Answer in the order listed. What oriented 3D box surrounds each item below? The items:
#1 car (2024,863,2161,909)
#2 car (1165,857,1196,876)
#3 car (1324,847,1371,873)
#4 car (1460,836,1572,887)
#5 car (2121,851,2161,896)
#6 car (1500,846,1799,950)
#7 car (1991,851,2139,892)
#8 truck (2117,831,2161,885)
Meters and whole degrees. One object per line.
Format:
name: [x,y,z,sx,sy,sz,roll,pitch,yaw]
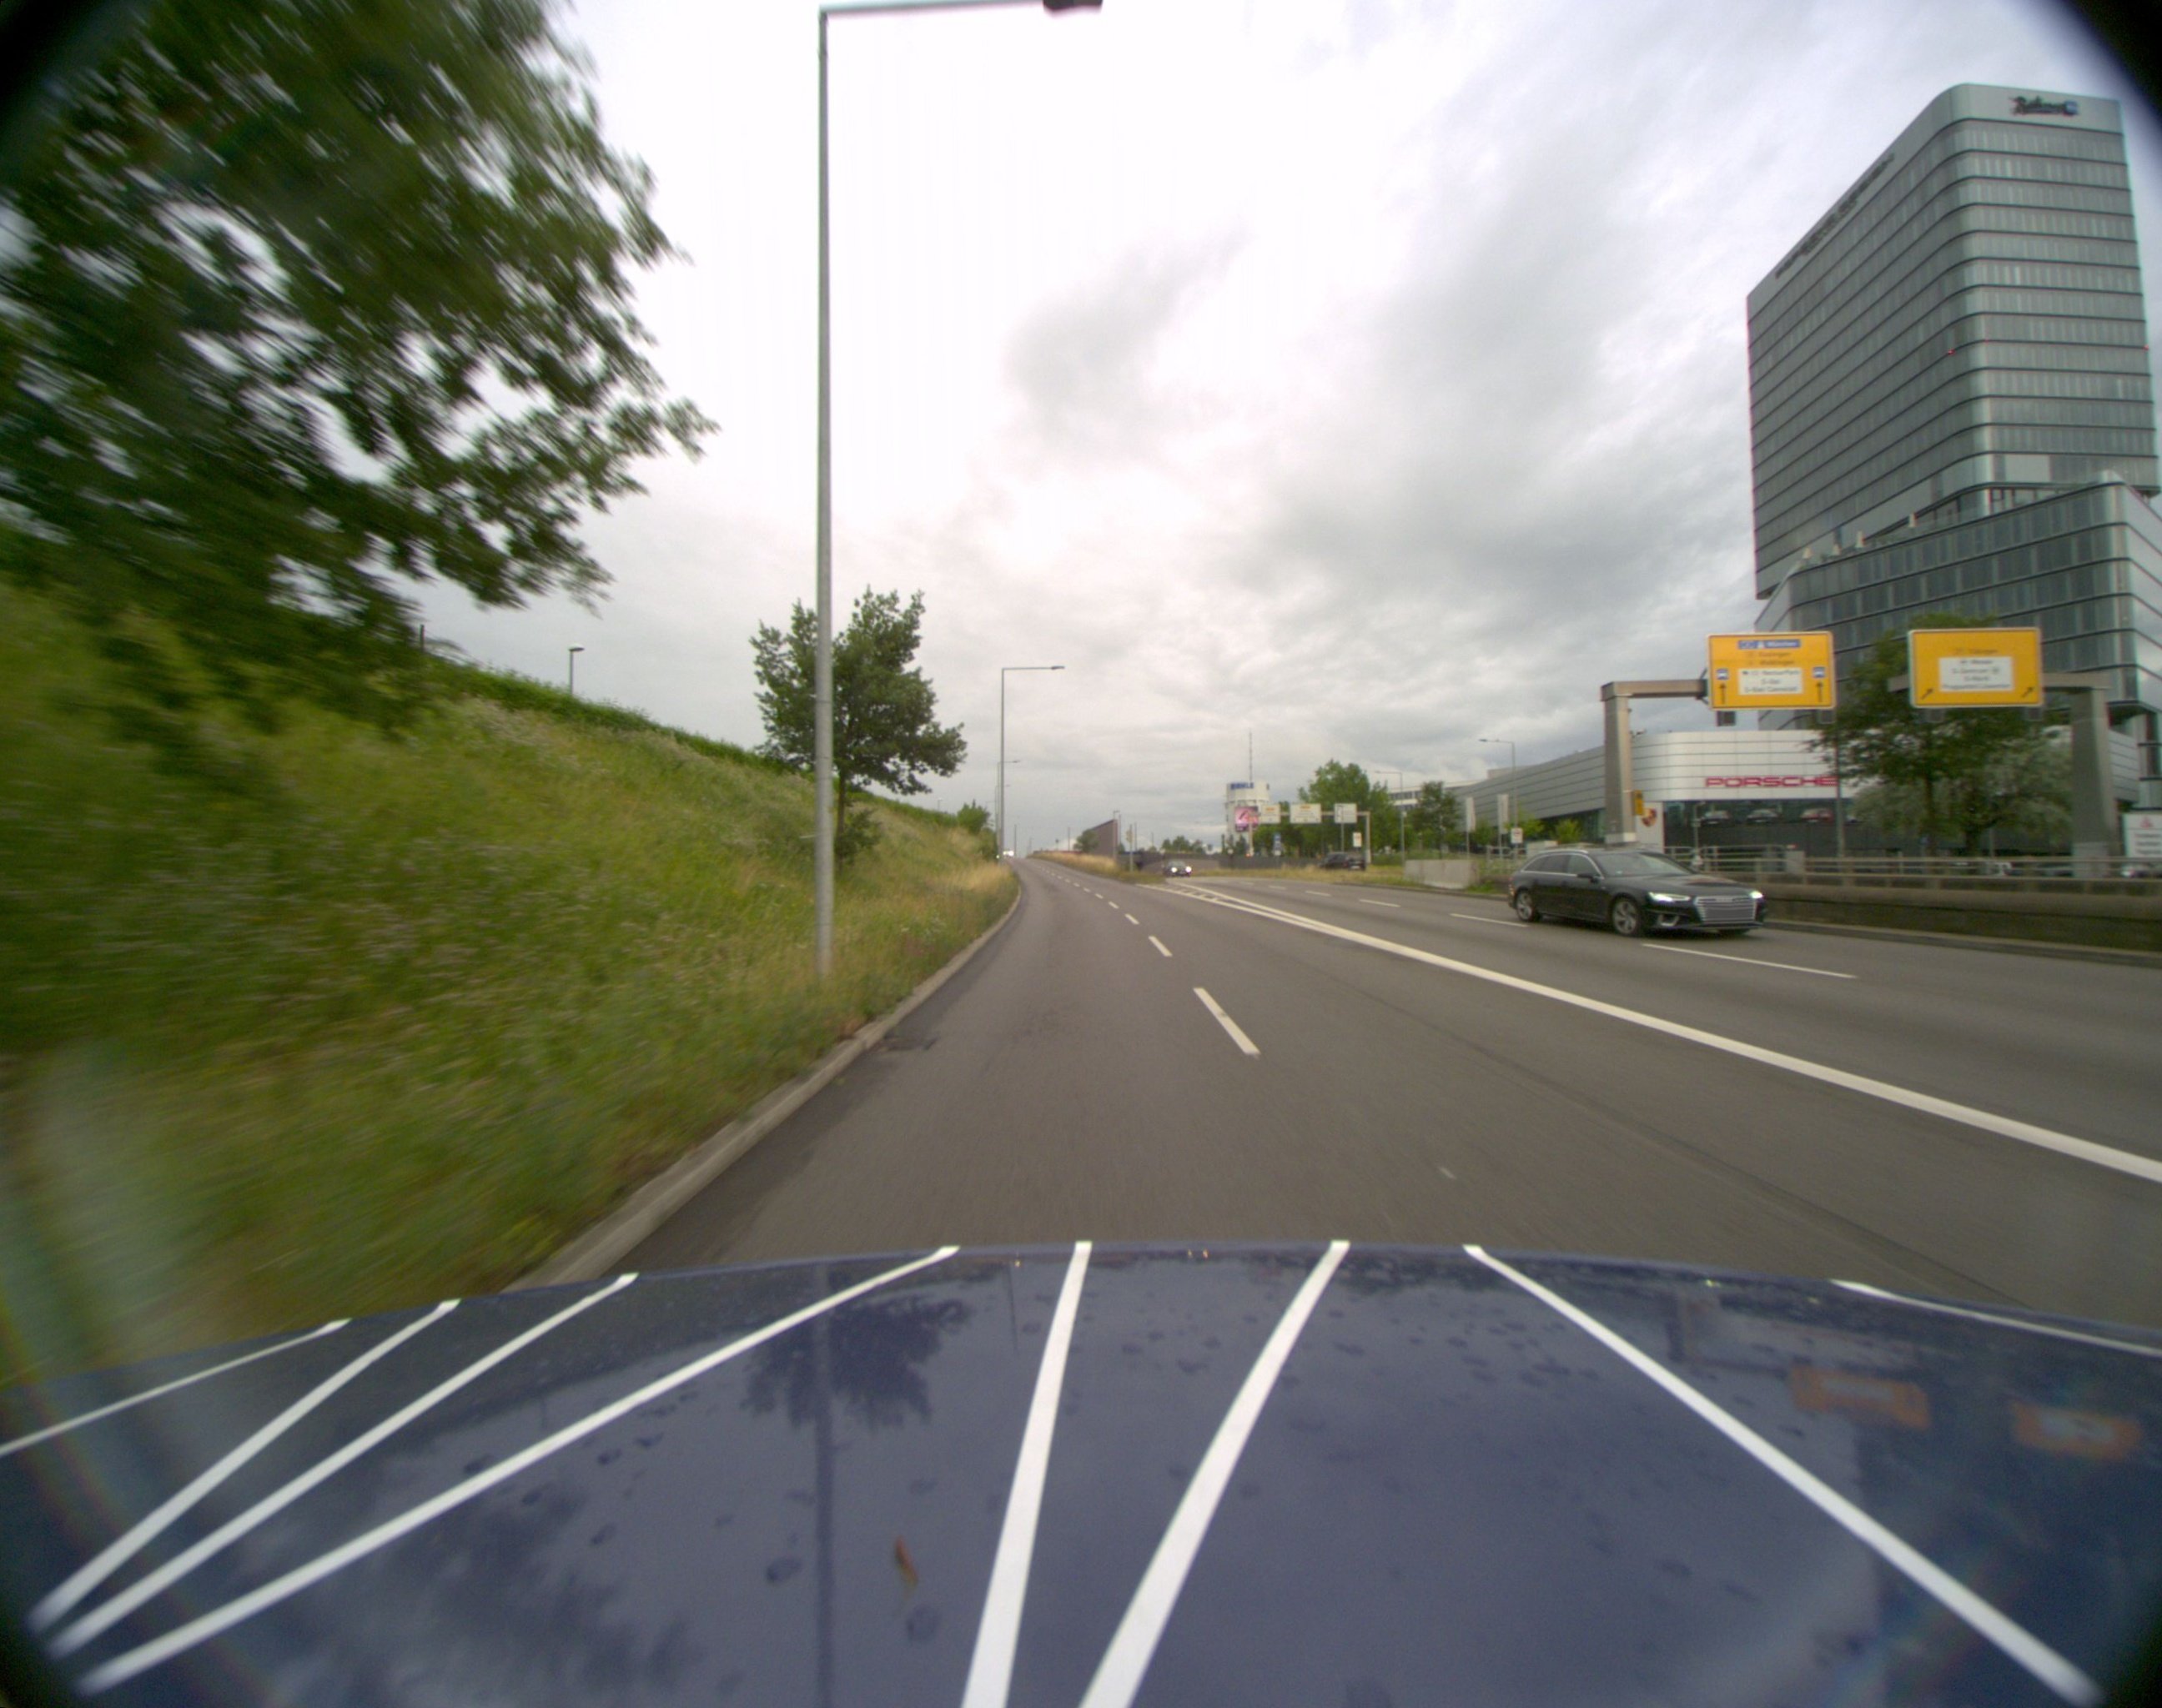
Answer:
car: [42.786,1.336,31.820,3.996,1.673,1.924,-3,-2,2]
car: [8.972,1.074,68.910,1.873,1.622,3.998,-1,0,-5]
car: [20.864,0.450,59.713,1.815,1.818,4.630,-3,0,-3]
car: [14.824,0.319,26.131,1.692,1.580,3.550,-3,-3,0]
car: [42.826,0.656,28.757,3.996,1.673,1.924,-3,-2,2]
car: [9.407,0.621,13.190,1.814,1.411,4.632,-3,0,2]
car: [42.994,0.788,33.262,4.010,1.590,1.700,-3,-2,2]
truck: [52.284,0.040,33.801,2.371,2.512,7.416,-3,-3,4]
